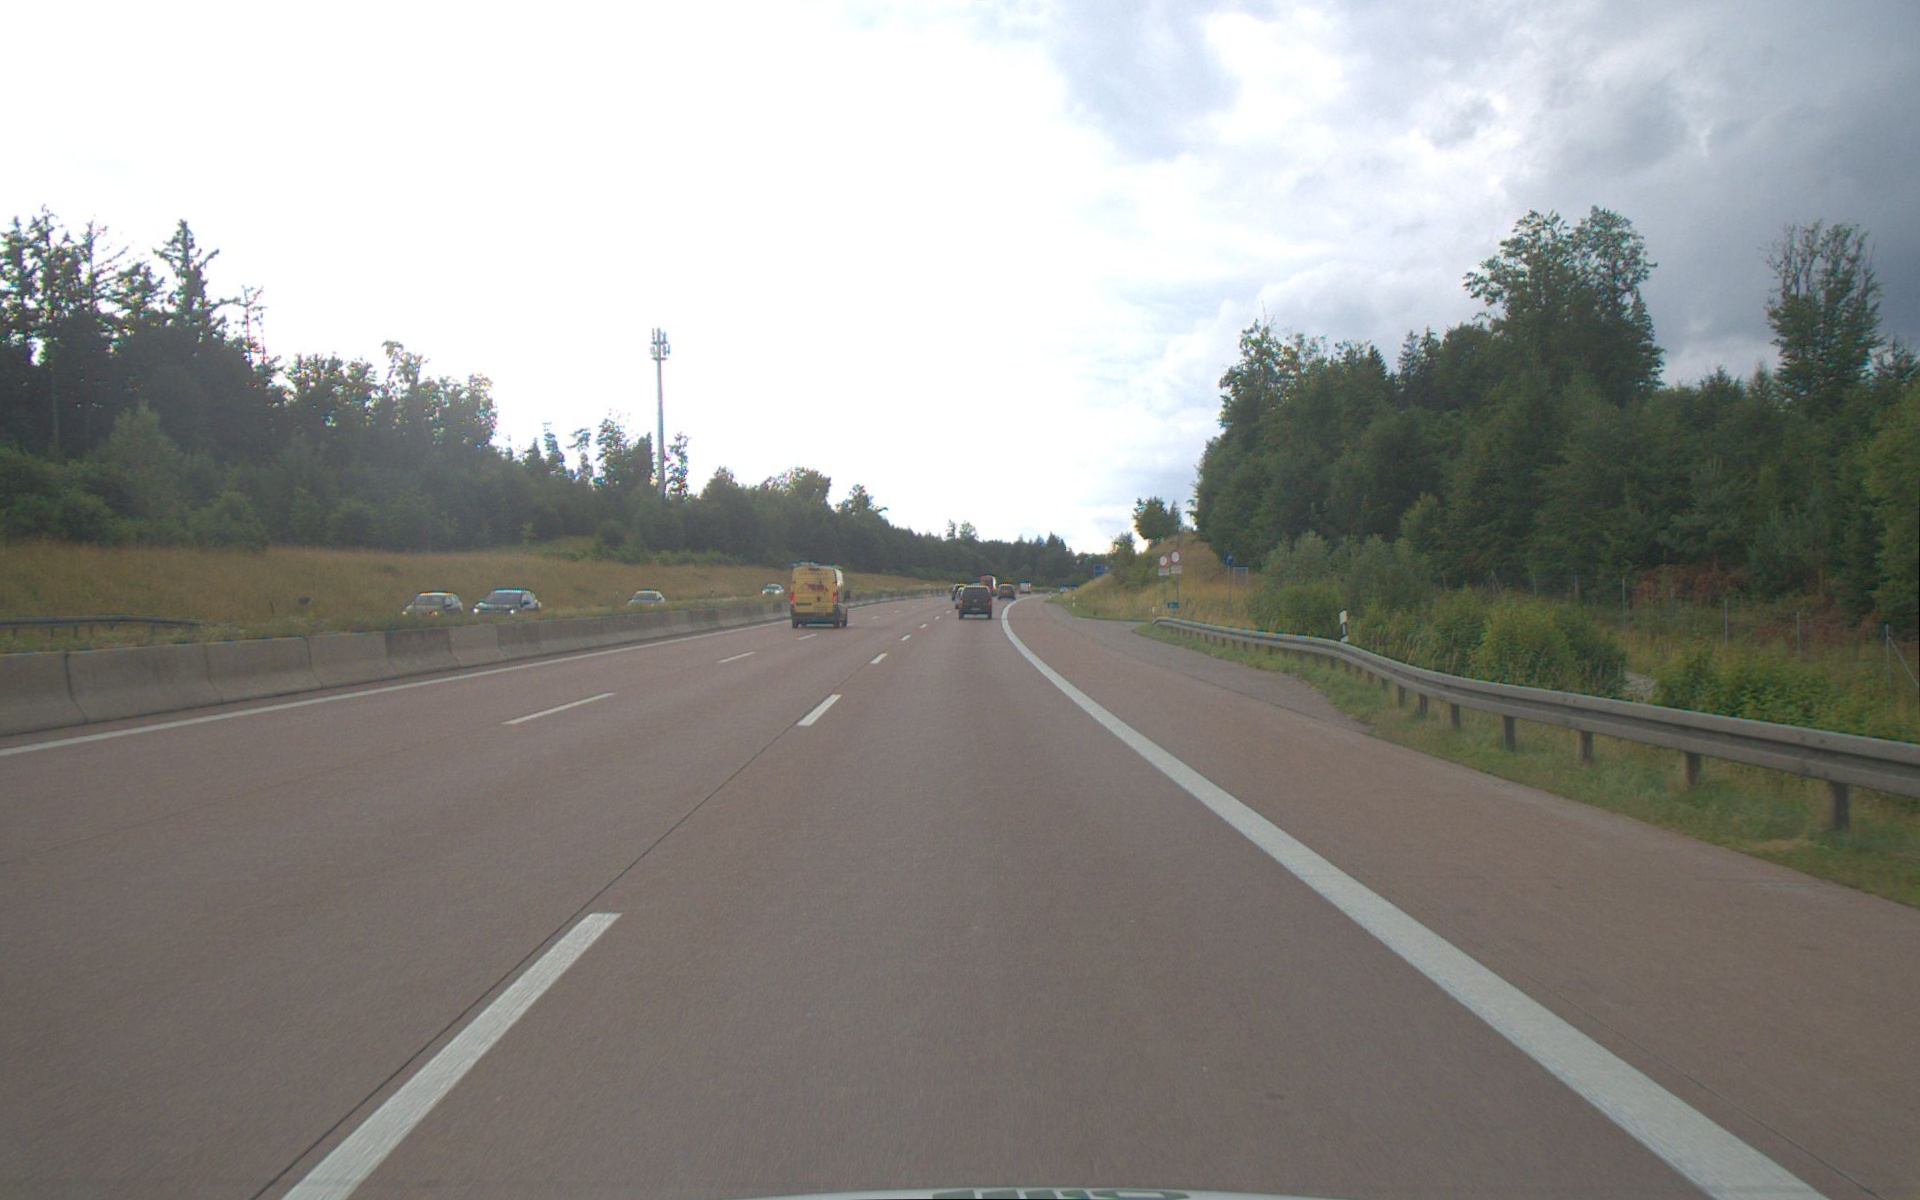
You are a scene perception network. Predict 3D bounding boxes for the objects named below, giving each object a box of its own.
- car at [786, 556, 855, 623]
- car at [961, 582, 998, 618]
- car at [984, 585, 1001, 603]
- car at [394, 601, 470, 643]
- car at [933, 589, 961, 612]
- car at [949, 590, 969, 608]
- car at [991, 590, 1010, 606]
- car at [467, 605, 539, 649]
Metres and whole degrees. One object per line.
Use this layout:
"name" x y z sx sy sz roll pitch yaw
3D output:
"car" -5.987 -0.399 71.519 2.408 2.754 5.613 0 -1 1
"car" 1.057 0.004 93.281 2.002 1.930 5.576 0 -1 0
"car" 4.446 -0.769 224.153 2.194 2.472 6.207 0 0 3
"car" -21.976 0.940 69.027 1.726 1.667 4.380 1 -1 0
"car" -0.957 0.063 122.601 1.937 1.677 4.619 0 -1 1
"car" -0.128 -0.076 167.793 1.937 1.677 4.617 0 -1 -1
"car" 4.448 -0.202 181.634 1.937 1.677 4.617 0 -1 -1
"car" -18.126 1.097 65.808 1.727 1.667 4.378 1 -1 -2
